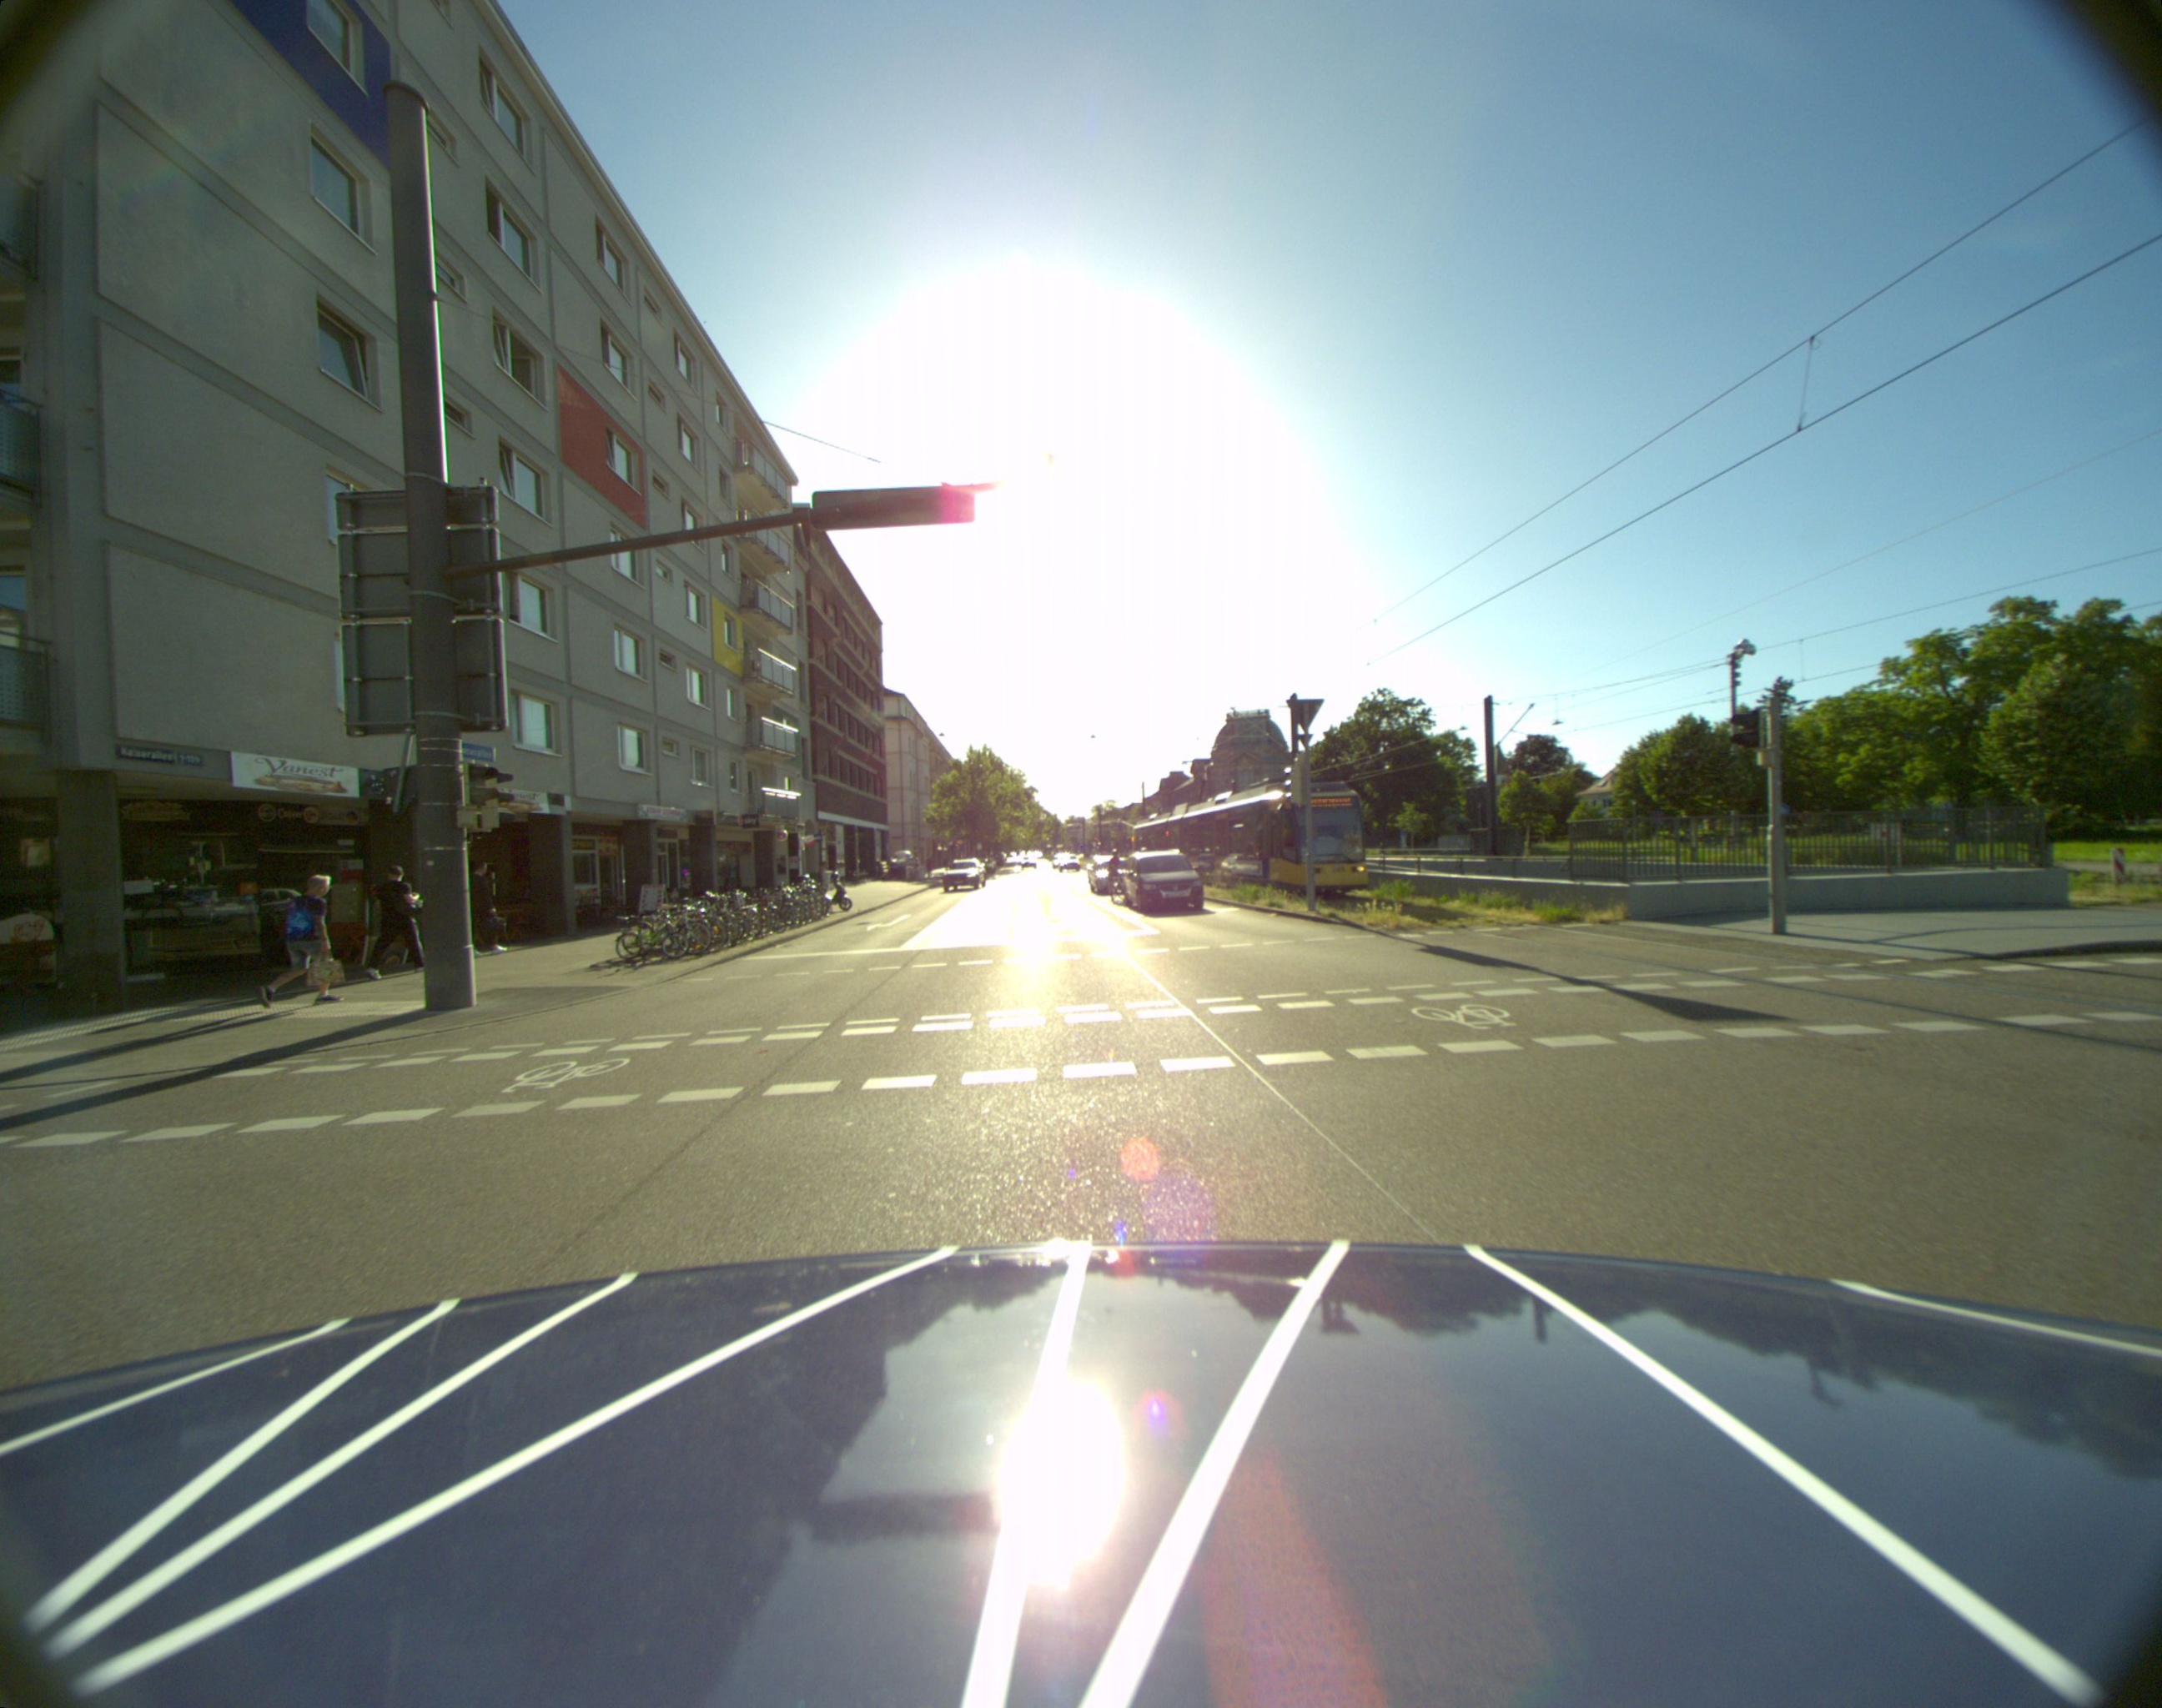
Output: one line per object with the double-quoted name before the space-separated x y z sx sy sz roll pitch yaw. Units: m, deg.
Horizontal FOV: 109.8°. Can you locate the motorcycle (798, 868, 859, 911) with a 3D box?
"motorcycle" -8.813 1.239 26.611 1.884 1.421 0.888 -1 1 -8

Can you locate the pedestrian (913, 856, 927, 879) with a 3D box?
"pedestrian" -11.717 0.956 55.340 0.772 1.641 0.672 -3 1 8

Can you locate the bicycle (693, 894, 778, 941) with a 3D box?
"bicycle" -8.278 1.514 18.240 1.774 1.049 0.415 -1 2 -5

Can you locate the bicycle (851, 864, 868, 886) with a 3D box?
"bicycle" -13.803 1.289 47.350 0.598 1.235 1.931 -2 1 -4

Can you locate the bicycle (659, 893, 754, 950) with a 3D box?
"bicycle" -8.026 1.437 16.317 1.755 1.094 0.399 -2 2 -6

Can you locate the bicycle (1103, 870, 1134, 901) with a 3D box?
"bicycle" 1.292 1.073 26.645 0.631 0.934 1.904 -4 2 -9

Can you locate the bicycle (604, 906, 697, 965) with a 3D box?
"bicycle" -7.972 1.512 14.108 1.433 1.005 0.410 -1 2 -3

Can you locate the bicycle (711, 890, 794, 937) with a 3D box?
"bicycle" -8.209 1.485 19.034 1.823 1.054 0.415 -2 2 -4

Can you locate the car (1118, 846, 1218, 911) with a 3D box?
"car" 2.385 0.617 22.041 1.999 1.528 4.354 -4 1 -4

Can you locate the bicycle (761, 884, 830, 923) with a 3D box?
"bicycle" -8.506 1.470 22.655 1.823 1.054 0.415 -3 2 -9

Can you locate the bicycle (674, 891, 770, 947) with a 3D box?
"bicycle" -8.109 1.456 17.214 1.819 1.076 0.530 -4 2 -7

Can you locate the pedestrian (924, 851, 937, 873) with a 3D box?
"pedestrian" -13.286 0.712 66.919 0.868 1.873 1.221 -3 1 -20

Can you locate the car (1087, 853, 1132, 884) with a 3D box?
"car" 1.453 0.719 40.380 1.892 1.421 4.130 -4 1 -4

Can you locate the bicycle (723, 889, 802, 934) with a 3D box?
"bicycle" -8.322 1.495 19.884 1.823 1.054 0.415 -2 3 -7

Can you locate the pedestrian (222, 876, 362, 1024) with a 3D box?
"pedestrian" -10.215 1.201 9.880 0.791 1.767 0.874 -3 1 -5

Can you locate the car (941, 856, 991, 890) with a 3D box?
"car" -6.414 1.007 42.719 1.901 1.677 4.118 -3 1 3

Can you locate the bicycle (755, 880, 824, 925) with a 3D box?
"bicycle" -8.502 1.411 22.235 1.783 1.222 0.415 -2 2 -9

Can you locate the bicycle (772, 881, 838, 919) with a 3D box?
"bicycle" -8.535 1.423 23.531 1.823 1.054 0.415 -2 2 -9

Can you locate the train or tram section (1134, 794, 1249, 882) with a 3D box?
"train or tram section" 5.178 -0.704 39.055 2.957 3.591 13.628 -3 1 -4

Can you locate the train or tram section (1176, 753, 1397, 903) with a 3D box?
"train or tram section" 6.074 -0.695 25.873 2.957 3.664 13.178 -3 1 -4

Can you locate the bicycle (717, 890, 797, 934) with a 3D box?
"bicycle" -8.279 1.478 19.461 1.823 1.054 0.415 -1 1 -7

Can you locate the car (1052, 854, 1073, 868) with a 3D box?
"car" -1.957 0.748 80.883 1.987 1.284 4.324 -3 1 -4

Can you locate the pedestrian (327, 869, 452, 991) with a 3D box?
"pedestrian" -11.298 1.195 12.477 0.866 1.824 1.210 -3 1 -5

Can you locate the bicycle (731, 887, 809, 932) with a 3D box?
"bicycle" -8.287 1.461 20.310 1.823 1.064 0.415 -3 3 -9

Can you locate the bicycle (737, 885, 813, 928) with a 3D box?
"bicycle" -8.346 1.433 20.767 1.824 1.063 0.415 -2 3 -9

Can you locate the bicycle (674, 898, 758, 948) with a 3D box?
"bicycle" -8.035 1.517 16.752 1.547 0.960 0.387 -4 2 -4

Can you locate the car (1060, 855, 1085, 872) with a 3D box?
"car" -0.779 0.800 65.978 1.859 1.284 4.093 -3 1 -4

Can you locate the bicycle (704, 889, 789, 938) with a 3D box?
"bicycle" -8.185 1.443 18.627 1.823 1.107 0.405 -1 1 -5

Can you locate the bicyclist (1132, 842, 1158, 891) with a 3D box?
"bicyclist" 2.242 0.410 26.702 0.694 1.650 0.919 -4 2 -4

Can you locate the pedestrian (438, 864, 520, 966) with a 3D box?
"pedestrian" -11.789 1.171 14.914 0.791 1.875 0.875 -3 1 3

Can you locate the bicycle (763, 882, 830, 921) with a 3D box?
"bicycle" -8.607 1.437 23.043 1.823 1.054 0.415 -2 2 -8

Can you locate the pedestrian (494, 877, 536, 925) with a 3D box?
"pedestrian" -18.307 1.510 24.584 0.766 1.466 0.712 -3 1 -5

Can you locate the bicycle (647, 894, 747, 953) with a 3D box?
"bicycle" -8.021 1.443 15.898 1.756 1.070 0.406 -4 2 -6

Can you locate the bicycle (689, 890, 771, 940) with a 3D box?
"bicycle" -8.167 1.419 17.739 1.643 1.105 0.530 0 1 -7

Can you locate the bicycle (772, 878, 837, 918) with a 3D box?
"bicycle" -8.929 1.418 24.563 1.823 1.167 0.702 -2 2 -9

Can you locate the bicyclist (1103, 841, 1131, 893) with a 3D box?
"bicyclist" 1.252 0.445 26.606 0.704 1.720 0.853 -4 2 -9

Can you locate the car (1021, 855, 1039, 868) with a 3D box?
"car" -5.928 0.826 88.135 1.987 1.284 4.391 -3 1 -4

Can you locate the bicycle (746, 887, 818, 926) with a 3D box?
"bicycle" -8.389 1.467 21.359 1.824 1.006 0.415 -2 2 -9

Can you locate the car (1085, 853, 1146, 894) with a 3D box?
"car" 1.395 0.761 32.021 1.999 1.421 4.130 -4 1 -4

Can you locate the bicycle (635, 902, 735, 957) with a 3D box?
"bicycle" -7.897 1.499 15.181 1.704 1.005 0.410 -1 2 -7

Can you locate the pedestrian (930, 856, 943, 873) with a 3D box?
"pedestrian" -13.643 0.985 71.564 0.868 1.639 0.980 -3 1 -26
